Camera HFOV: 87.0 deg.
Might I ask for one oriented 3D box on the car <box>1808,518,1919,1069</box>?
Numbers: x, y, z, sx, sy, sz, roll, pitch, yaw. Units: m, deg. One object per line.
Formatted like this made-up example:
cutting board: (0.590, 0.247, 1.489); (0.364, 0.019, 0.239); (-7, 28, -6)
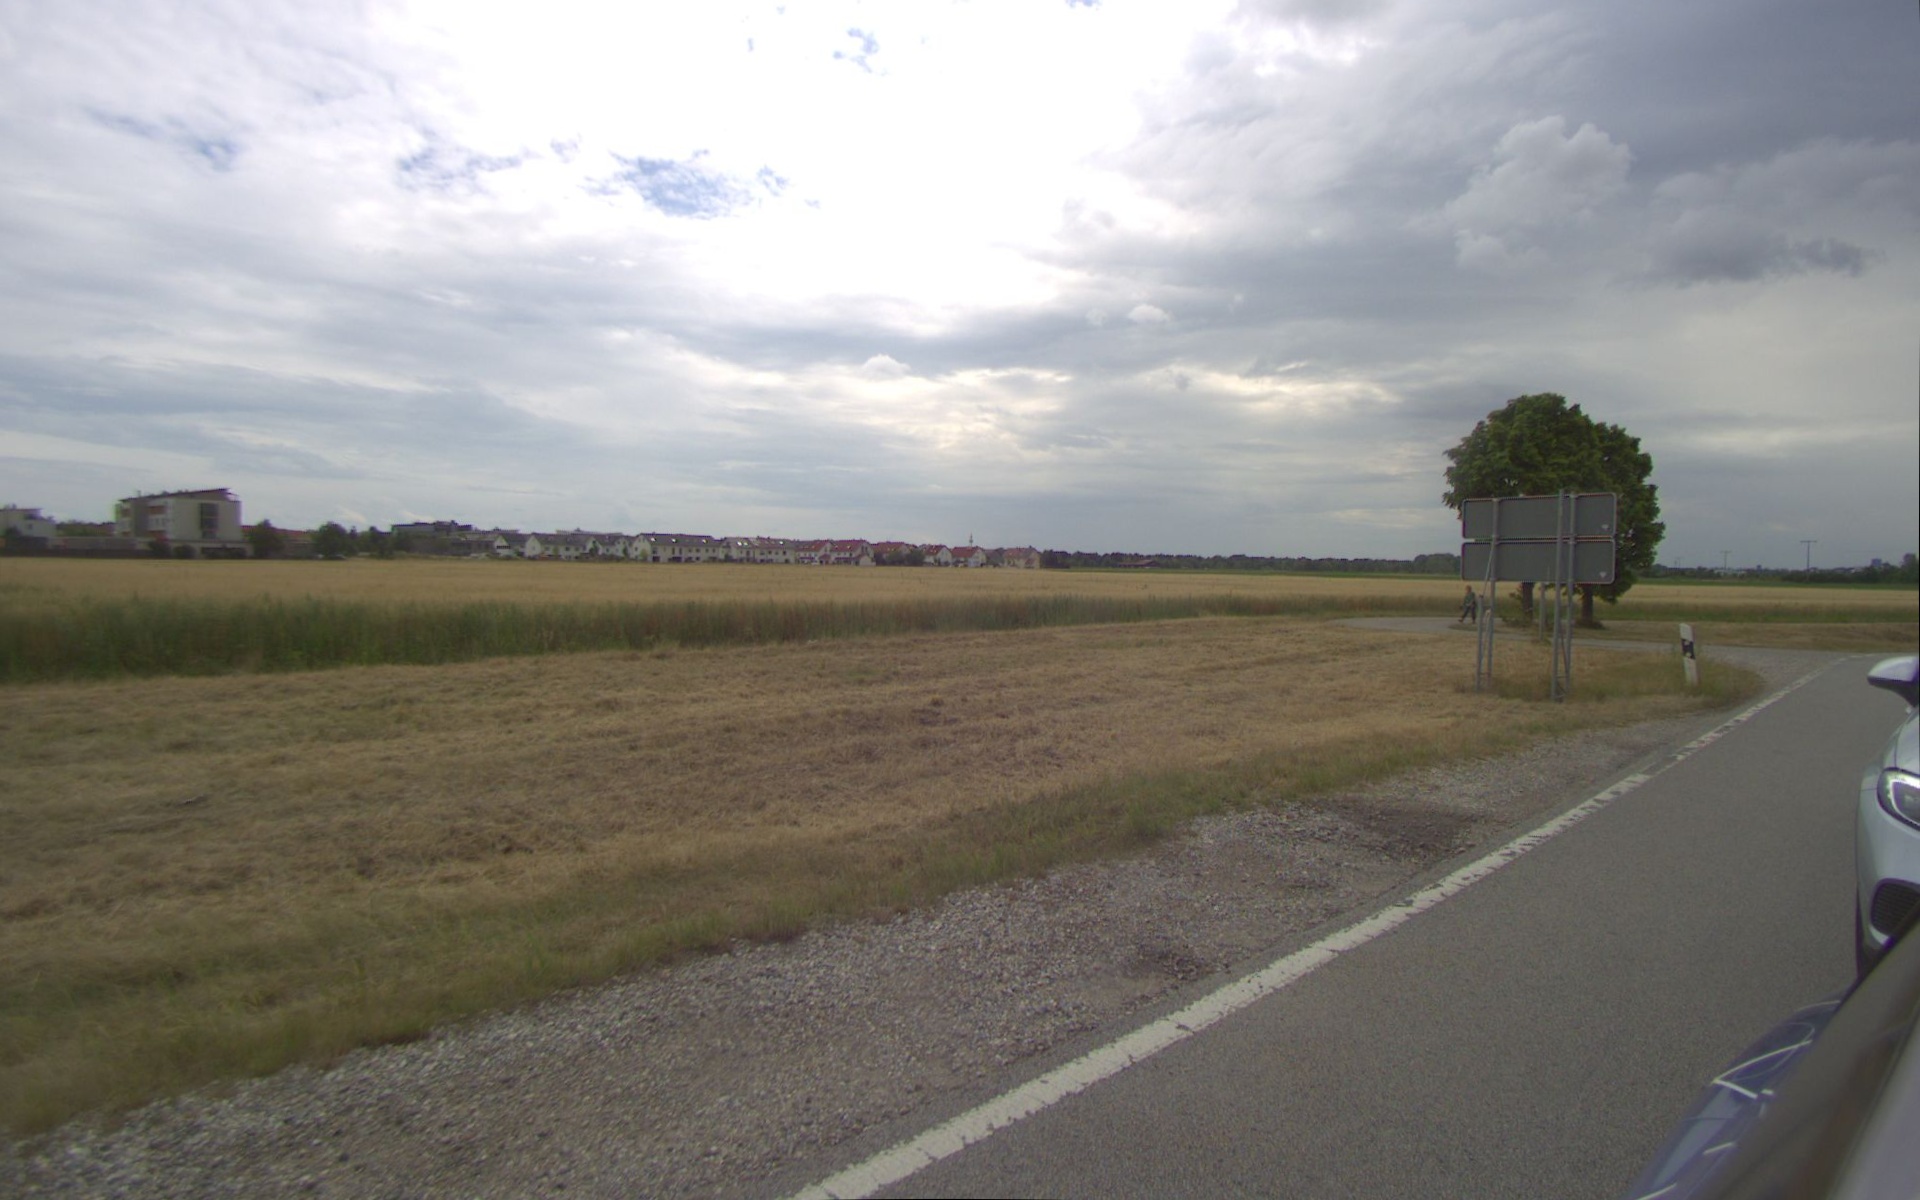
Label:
car: (4.890, 0.531, 3.828); (4.319, 1.606, 1.993); (-1, 1, -42)

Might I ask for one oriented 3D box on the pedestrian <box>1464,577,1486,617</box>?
pedestrian: (21.774, -0.137, 42.810); (0.766, 1.631, 0.936); (2, 2, 28)
